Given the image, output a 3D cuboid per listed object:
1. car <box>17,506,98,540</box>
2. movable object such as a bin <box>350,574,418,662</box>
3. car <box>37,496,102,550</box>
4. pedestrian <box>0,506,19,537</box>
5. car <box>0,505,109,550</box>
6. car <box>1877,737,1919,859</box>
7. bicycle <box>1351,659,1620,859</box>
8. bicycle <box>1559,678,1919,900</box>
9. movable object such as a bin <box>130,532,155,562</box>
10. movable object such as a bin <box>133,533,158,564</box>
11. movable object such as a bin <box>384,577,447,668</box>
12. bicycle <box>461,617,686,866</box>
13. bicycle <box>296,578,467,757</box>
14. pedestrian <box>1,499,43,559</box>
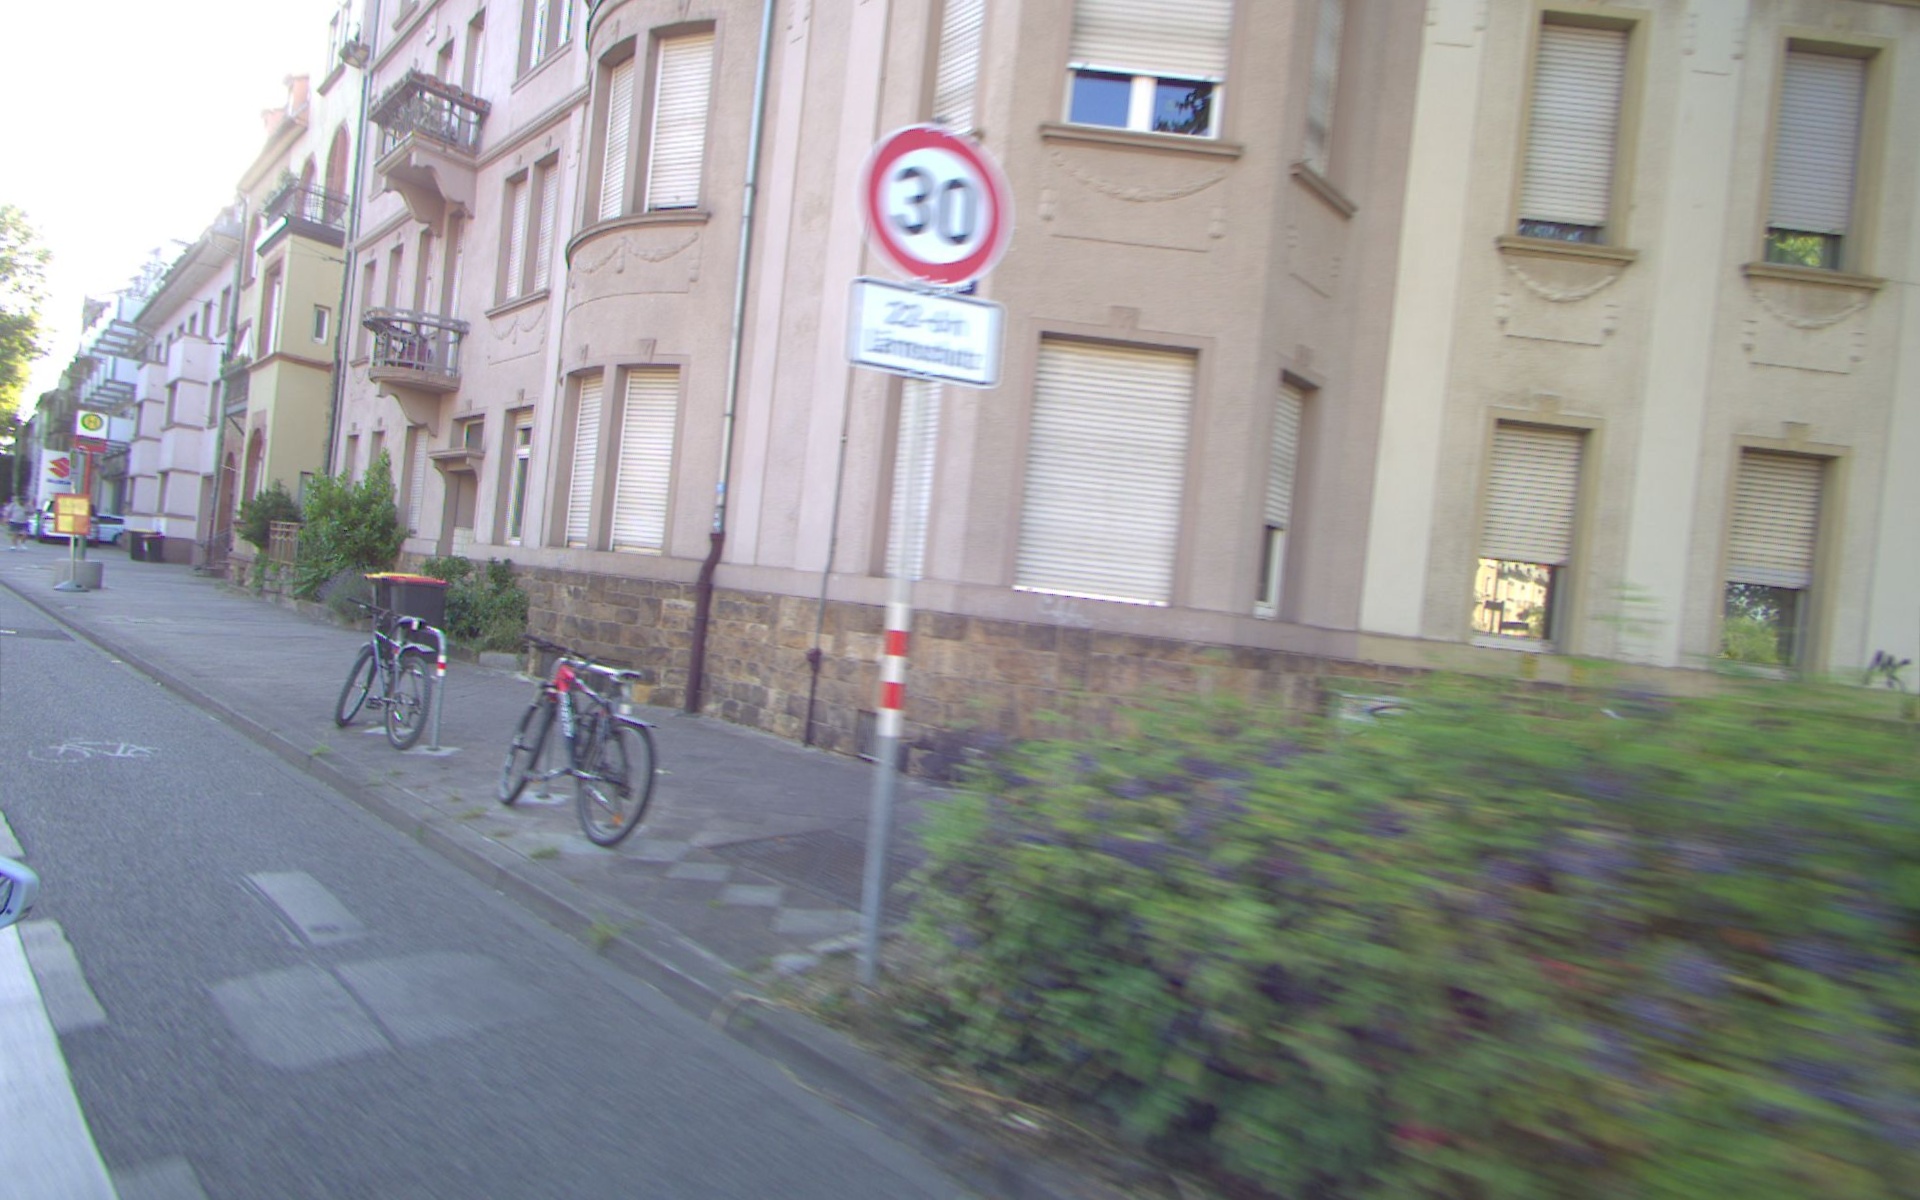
[{"bbox_3d":[-54.135,-4.612,60.382,1.423,1.565,3.412,5,-1,41],"label":"car"},{"bbox_3d":[-7.418,0.228,12.946,0.651,1.059,0.653,6,0,-33],"label":"movable object such as a bin"},{"bbox_3d":[-38.633,-3.313,43.612,1.886,1.972,4.843,6,-1,-43],"label":"car"},{"bbox_3d":[-53.757,-4.421,56.858,0.911,1.649,0.661,5,0,44],"label":"pedestrian"},{"bbox_3d":[-42.173,-3.370,46.629,1.885,1.519,3.808,7,0,39],"label":"car"},{"bbox_3d":[8.639,1.755,8.364,1.044,0.962,0.925,5,4,2],"label":"car"},{"bbox_3d":[4.360,1.307,8.408,1.896,1.412,0.371,6,1,2],"label":"bicycle"},{"bbox_3d":[6.891,1.566,8.406,3.100,1.490,0.953,6,0,-1],"label":"bicycle"},{"bbox_3d":[-28.138,-1.831,34.632,0.552,0.981,0.577,6,0,-44],"label":"movable object such as a bin"},{"bbox_3d":[-27.693,-1.749,34.190,0.552,0.981,0.577,6,0,-44],"label":"movable object such as a bin"},{"bbox_3d":[-6.802,0.278,12.554,0.565,1.059,0.653,5,0,-33],"label":"movable object such as a bin"},{"bbox_3d":[-2.263,0.723,5.734,1.850,1.082,0.369,6,0,44],"label":"bicycle"},{"bbox_3d":[-4.442,0.463,7.656,1.905,1.112,0.436,6,0,41],"label":"bicycle"},{"bbox_3d":[-31.052,-2.343,33.288,1.135,1.835,0.827,5,0,43],"label":"pedestrian"}]
